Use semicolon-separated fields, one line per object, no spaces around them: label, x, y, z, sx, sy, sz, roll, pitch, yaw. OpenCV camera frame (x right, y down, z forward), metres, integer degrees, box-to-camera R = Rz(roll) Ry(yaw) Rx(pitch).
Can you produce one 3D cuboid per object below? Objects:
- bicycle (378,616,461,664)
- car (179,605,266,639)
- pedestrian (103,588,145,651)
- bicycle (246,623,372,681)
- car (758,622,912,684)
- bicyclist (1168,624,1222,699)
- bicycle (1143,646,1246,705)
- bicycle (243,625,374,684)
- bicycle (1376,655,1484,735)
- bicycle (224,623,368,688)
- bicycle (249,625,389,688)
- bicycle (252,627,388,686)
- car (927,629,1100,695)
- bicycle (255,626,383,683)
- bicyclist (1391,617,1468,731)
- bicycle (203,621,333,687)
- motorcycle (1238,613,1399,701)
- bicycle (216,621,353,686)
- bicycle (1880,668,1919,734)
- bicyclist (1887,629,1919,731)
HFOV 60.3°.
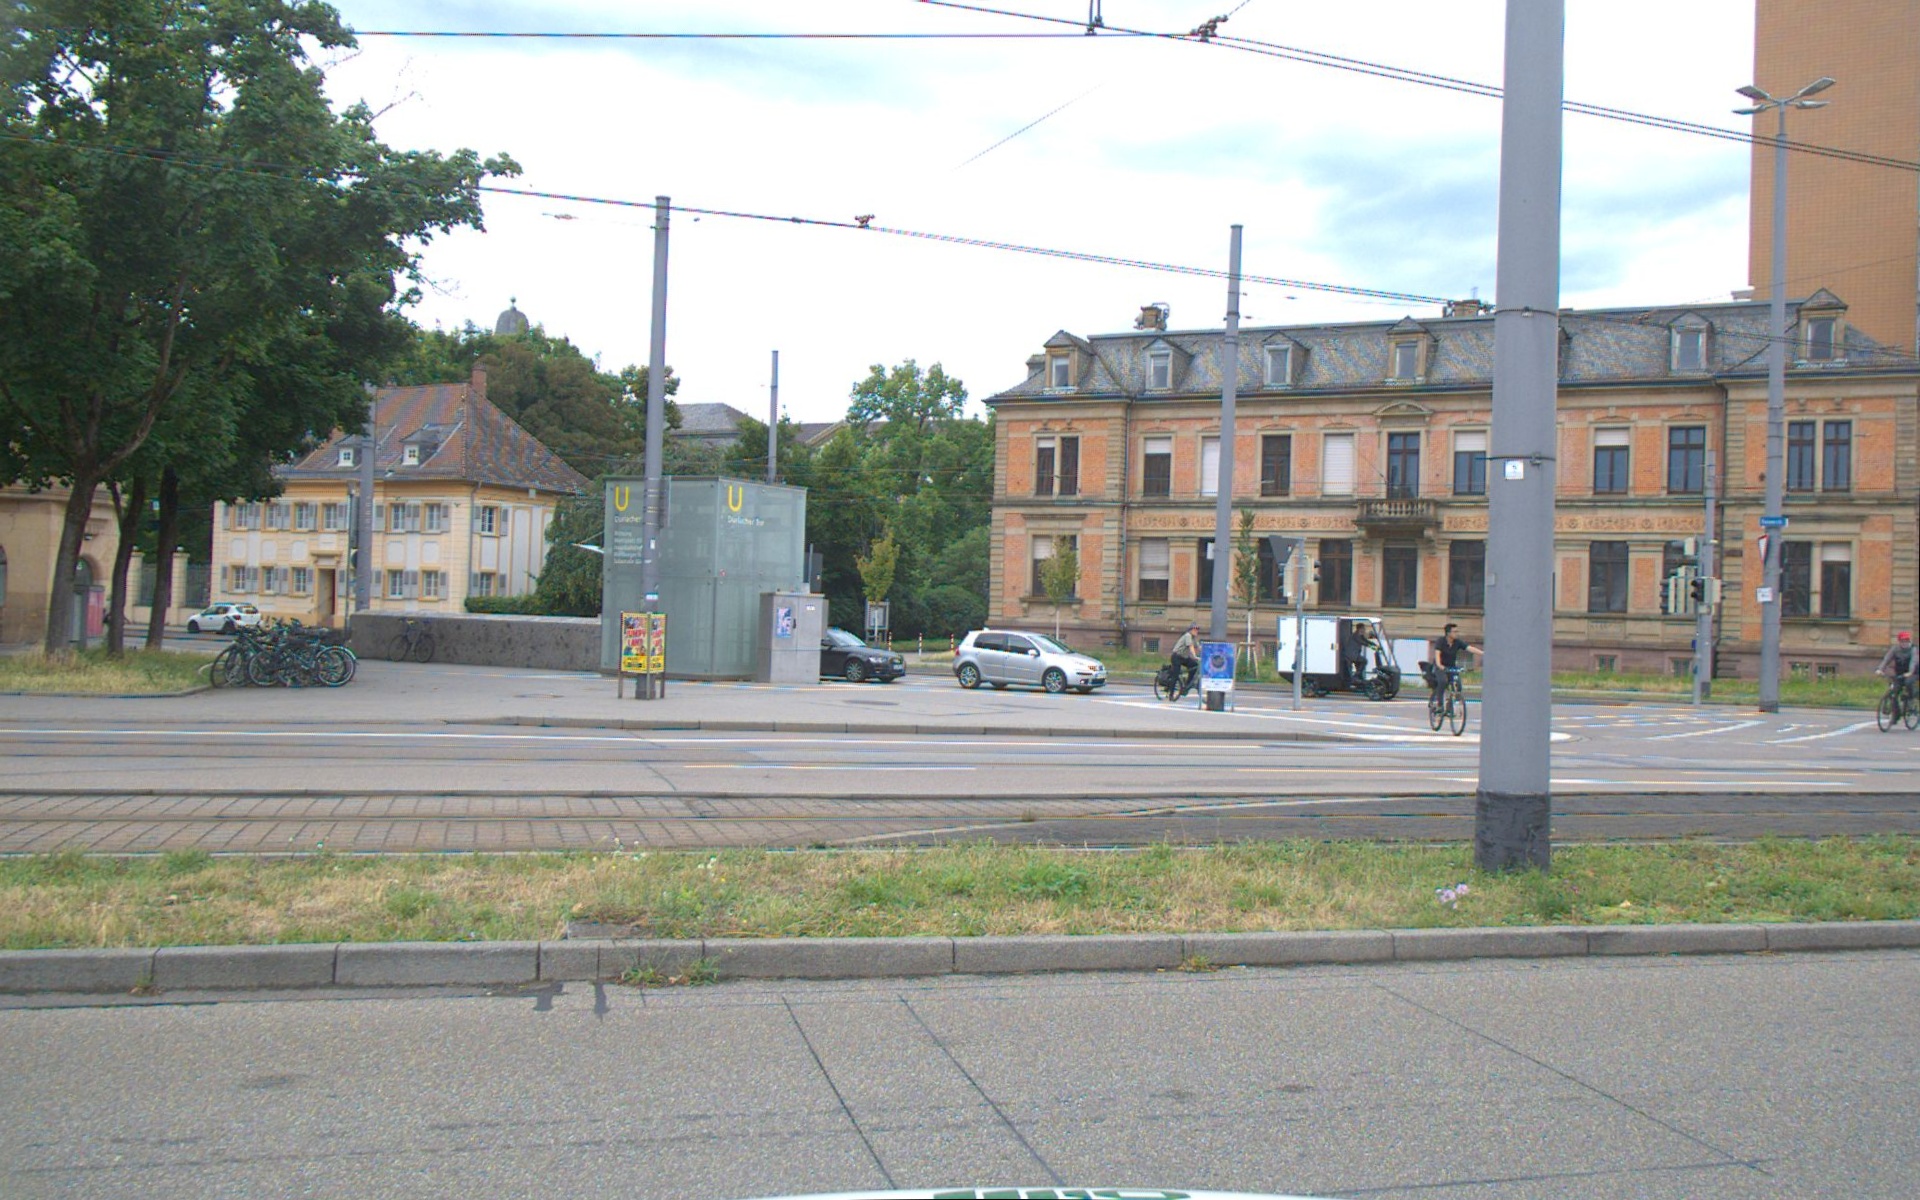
bicycle;-13.855;1.016;42.341;2.315;1.134;0.738;2;-1;35
car;-35.615;1.062;79.846;4.095;1.474;1.694;2;-1;29
pedestrian;-23.914;0.554;47.320;0.830;1.753;0.948;2;-1;-15
bicycle;-12.850;1.017;32.682;2.172;1.057;0.687;2;-1;-9
car;-3.428;1.425;44.977;4.062;1.474;1.690;2;-1;37
bicyclist;5.336;1.399;37.566;0.898;1.651;0.853;1;-2;32
bicycle;5.319;1.700;37.558;2.151;1.229;0.855;1;-2;32
bicycle;-12.036;1.004;30.597;2.172;1.004;0.499;2;-1;-9
bicycle;7.719;1.538;27.270;0.800;1.264;1.991;1;-2;-16
bicycle;-11.254;0.939;28.063;2.172;1.024;0.479;2;-1;-9
bicycle;-11.168;0.985;28.863;2.172;1.004;0.499;2;-1;-9
bicycle;-11.608;1.024;30.051;2.172;1.004;0.609;2;-1;-9
car;1.326;1.532;41.806;4.077;1.479;1.755;1;-1;36
bicycle;-12.221;1.042;31.574;2.172;1.004;0.584;2;-1;-9
bicyclist;7.733;1.195;27.260;0.800;1.830;1.025;1;-1;-16
bicycle;-11.167;0.872;26.739;1.829;1.004;0.499;2;-1;-10
motorcycle;9.042;1.414;41.761;3.608;2.049;1.692;1;-1;31
bicycle;-11.211;0.894;27.499;1.993;1.004;0.521;2;-1;-9
bicycle;18.477;1.943;32.046;0.807;1.229;2.234;1;-2;21
bicyclist;18.451;1.540;31.956;0.812;1.925;1.048;0;-2;22
